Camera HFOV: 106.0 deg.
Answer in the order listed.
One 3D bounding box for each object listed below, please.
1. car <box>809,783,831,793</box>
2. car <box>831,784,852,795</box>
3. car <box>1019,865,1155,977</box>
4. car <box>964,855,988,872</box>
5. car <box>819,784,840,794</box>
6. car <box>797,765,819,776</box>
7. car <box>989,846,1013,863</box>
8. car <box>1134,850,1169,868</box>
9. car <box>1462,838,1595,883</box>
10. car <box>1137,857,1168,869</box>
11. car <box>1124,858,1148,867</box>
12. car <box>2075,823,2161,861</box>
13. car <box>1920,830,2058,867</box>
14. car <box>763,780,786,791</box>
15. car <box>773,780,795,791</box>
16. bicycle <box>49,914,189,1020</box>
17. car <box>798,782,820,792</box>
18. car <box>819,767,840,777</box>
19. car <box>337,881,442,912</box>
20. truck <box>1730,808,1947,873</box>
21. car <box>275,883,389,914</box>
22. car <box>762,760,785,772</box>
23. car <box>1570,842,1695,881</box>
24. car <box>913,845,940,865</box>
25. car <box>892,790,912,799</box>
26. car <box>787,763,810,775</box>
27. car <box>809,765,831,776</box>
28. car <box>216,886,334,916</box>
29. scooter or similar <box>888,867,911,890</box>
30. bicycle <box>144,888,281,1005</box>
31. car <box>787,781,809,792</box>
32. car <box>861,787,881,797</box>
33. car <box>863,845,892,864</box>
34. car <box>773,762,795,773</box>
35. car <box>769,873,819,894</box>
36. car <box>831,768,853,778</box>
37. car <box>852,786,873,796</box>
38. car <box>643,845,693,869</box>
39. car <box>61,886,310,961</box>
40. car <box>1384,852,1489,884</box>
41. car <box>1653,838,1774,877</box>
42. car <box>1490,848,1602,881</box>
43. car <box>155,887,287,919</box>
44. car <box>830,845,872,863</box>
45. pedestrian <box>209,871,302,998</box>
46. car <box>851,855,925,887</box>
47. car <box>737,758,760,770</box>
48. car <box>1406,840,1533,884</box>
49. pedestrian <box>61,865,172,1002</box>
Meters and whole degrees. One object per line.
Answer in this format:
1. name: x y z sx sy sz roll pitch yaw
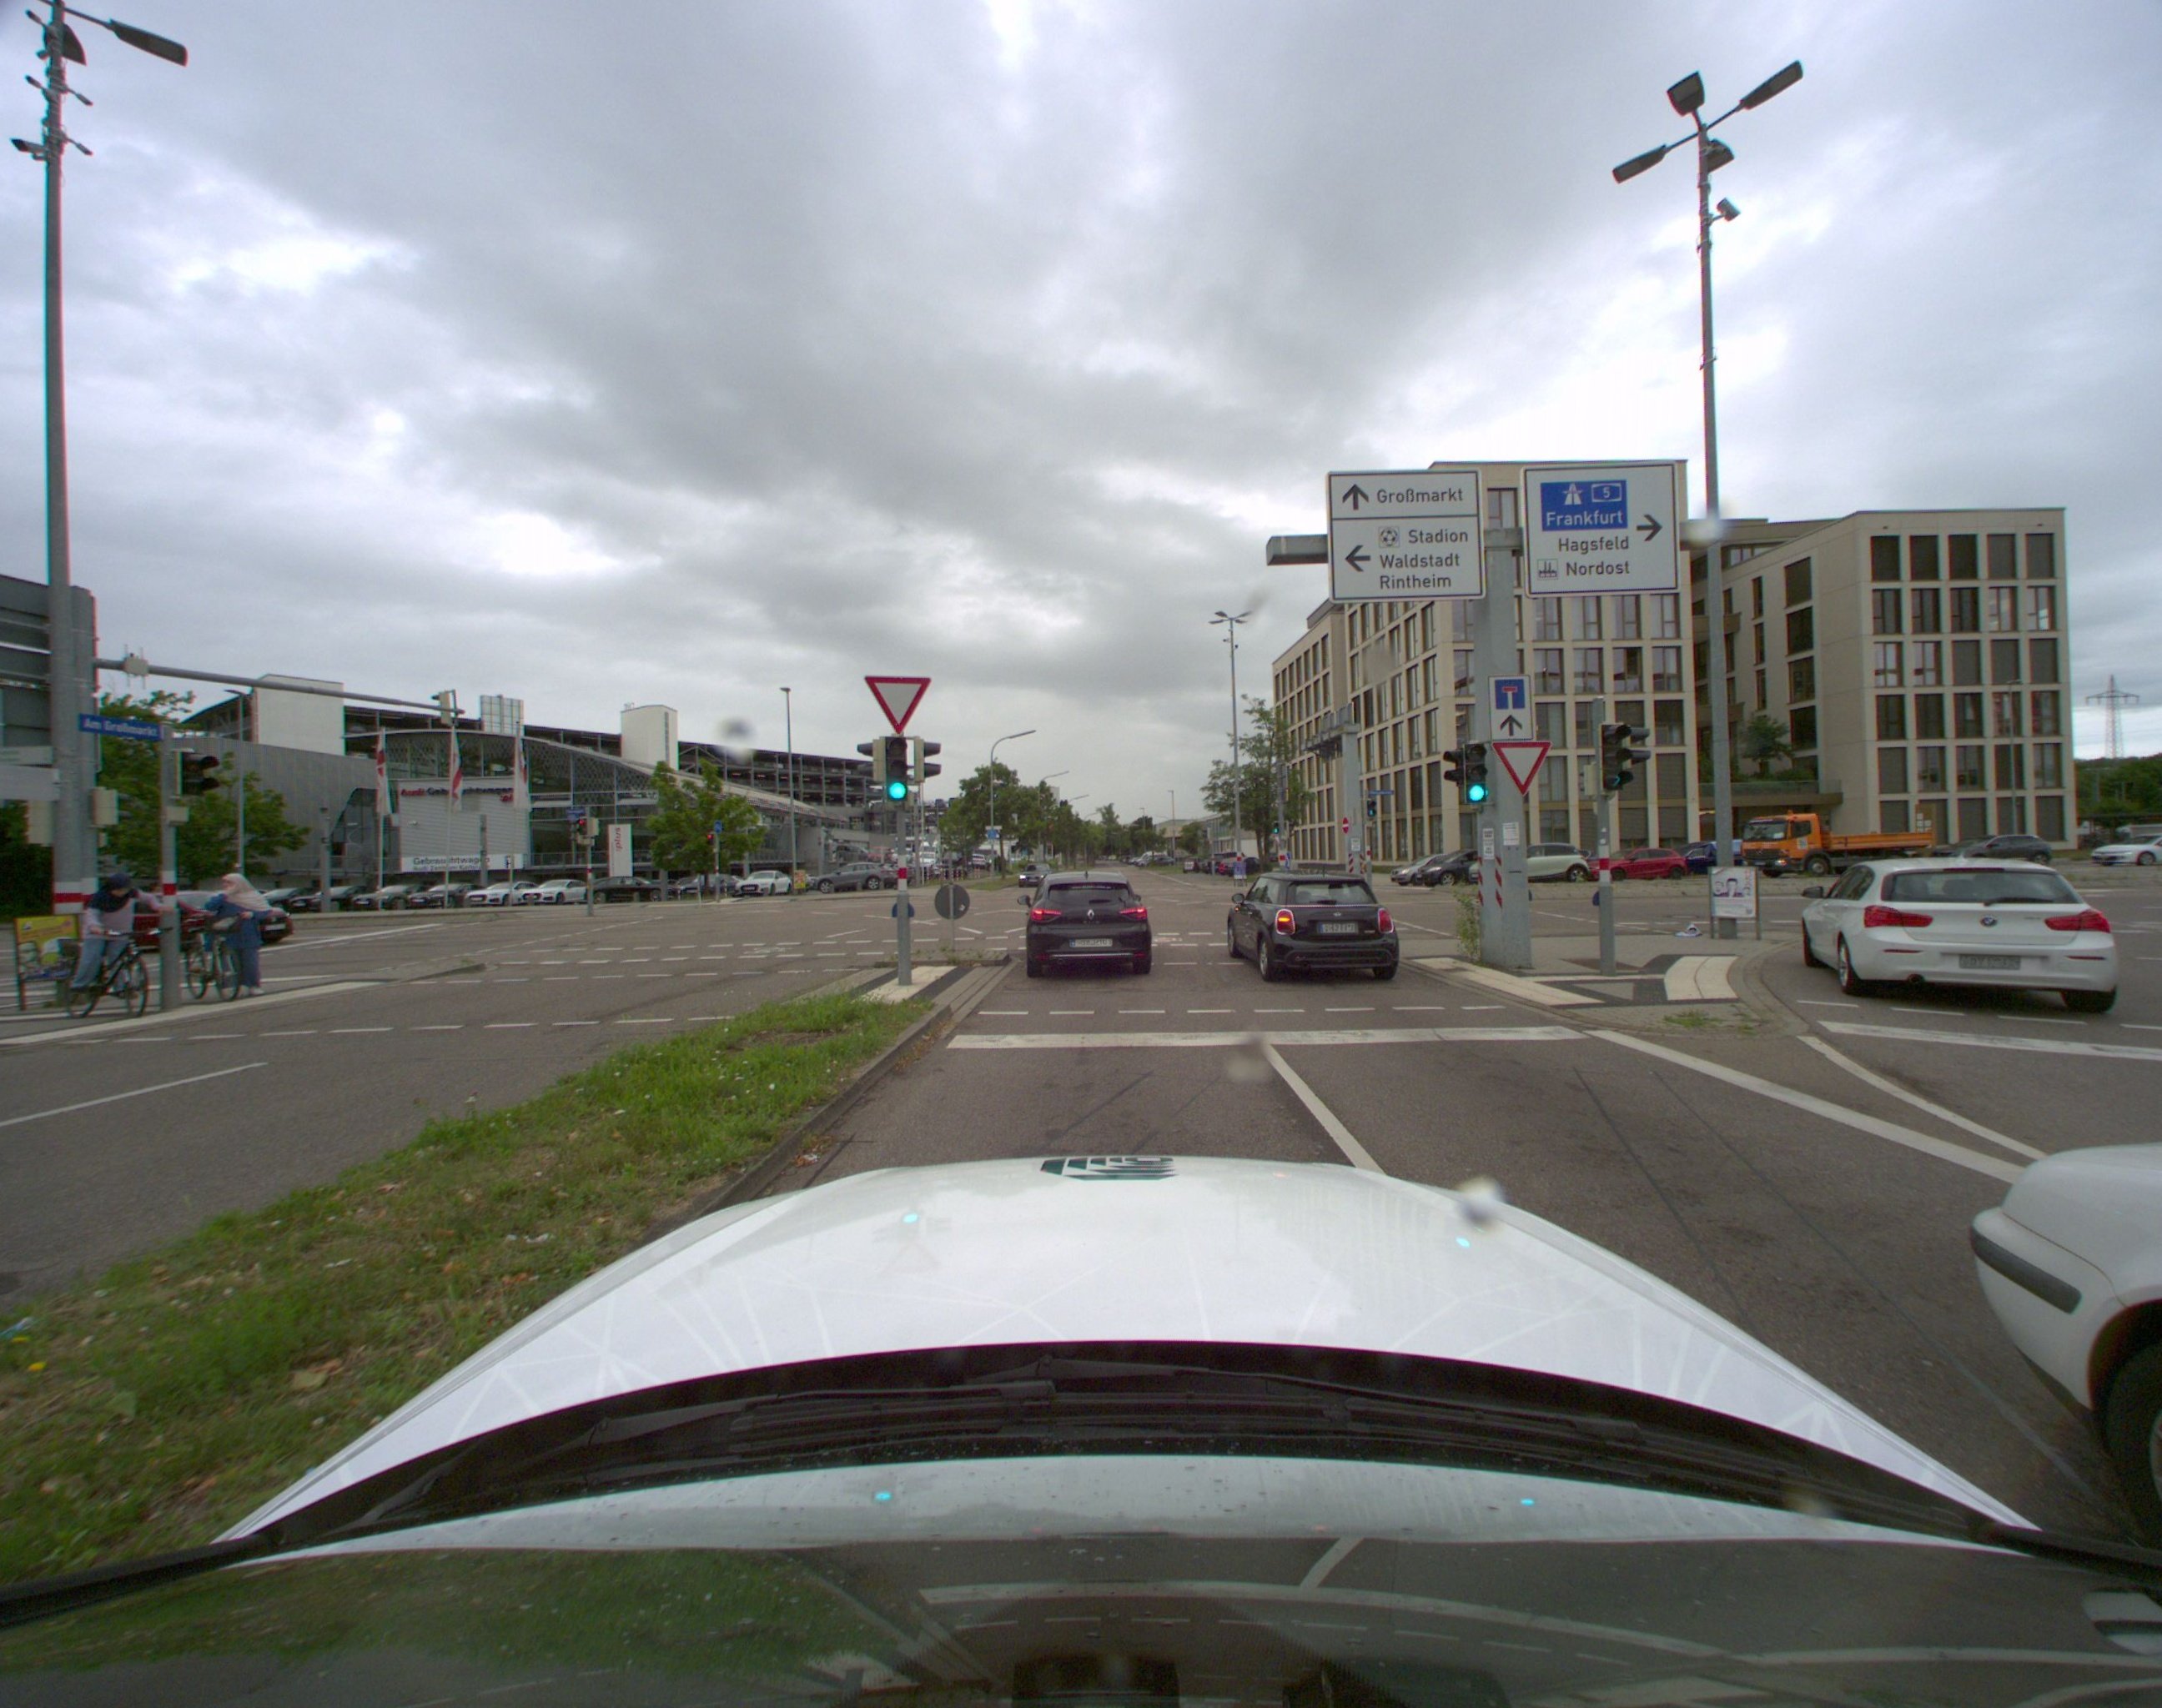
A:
1. car: -50.901 -12.858 158.887 3.948 1.667 2.013 -1 -1 33
2. car: -47.949 -12.927 163.240 3.948 1.667 2.013 -1 -1 33
3. car: 0.143 0.909 12.491 1.750 1.435 4.001 0 -1 2
4. car: -10.360 0.963 80.839 1.988 1.618 3.997 0 -1 -2
5. car: -49.658 -12.846 160.710 3.948 1.667 2.013 -1 -1 33
6. car: -52.476 -16.114 156.779 3.948 1.667 2.013 -1 -1 33
7. car: -8.003 0.088 81.401 1.987 1.618 3.999 0 -1 0
8. car: 12.795 0.932 147.874 6.096 3.116 2.134 0 -1 0
9. car: 16.851 0.254 30.802 4.047 1.643 1.902 0 -1 -4
10. car: 11.278 1.468 128.533 4.771 1.891 2.143 0 -1 -1
11. car: 12.138 1.913 178.484 5.156 2.014 2.143 0 -1 0
12. car: 49.066 -0.523 37.244 4.319 1.657 2.006 0 -1 10
13. car: 42.501 -0.229 38.193 4.089 1.657 2.001 0 -1 3
14. car: -56.592 -12.662 150.385 3.948 1.667 2.013 -1 -1 33
15. car: -55.621 -12.753 152.446 3.948 1.667 2.013 -1 -1 33
16. bicycle: -11.456 1.322 9.691 1.923 1.166 0.511 -3 -3 23
17. car: -52.288 -12.848 156.724 3.948 1.667 2.013 -1 -1 33
18. car: -49.650 -16.206 160.839 3.948 1.667 2.013 -1 -1 33
19. car: -35.615 2.214 42.100 1.897 1.486 4.186 -2 -3 -2
20. truck: 31.994 -0.512 34.586 6.633 2.639 2.820 0 -1 -1
21. car: -38.474 2.310 42.004 1.883 1.471 4.375 -2 -3 -2
22. car: -56.836 -16.225 150.362 3.948 1.667 2.013 -1 -1 33
23. car: 23.175 0.339 34.322 3.976 1.601 1.998 0 -1 -2
24. car: -15.228 0.109 80.392 1.988 1.823 3.997 0 -1 -2
25. car: -39.011 -12.993 177.584 3.948 1.667 2.013 -1 -1 33
26. car: -53.707 -16.155 154.796 3.948 1.667 2.013 -1 -1 33
27. car: -51.003 -16.251 159.048 3.948 1.667 2.013 -1 -1 33
28. car: -41.214 2.410 41.789 1.891 1.391 4.164 -2 -3 -2
29. scooter or similar: -10.017 1.360 45.057 0.553 1.219 1.566 1 0 16
30. bicycle: -11.333 1.182 10.622 1.910 1.396 0.600 -3 0 25
31. car: -53.706 -12.826 154.631 3.948 1.667 2.013 -1 -1 33
32. car: -43.827 -12.981 169.865 3.948 1.667 2.013 -1 -1 33
33. car: -20.126 0.089 80.627 1.988 1.849 3.997 0 -1 -2
34. car: -55.488 -16.187 152.197 3.948 1.667 2.013 -1 -1 33
35. car: -26.207 2.685 74.384 3.979 1.838 1.757 0 -1 -4
36. car: -47.993 -16.244 163.463 3.948 1.667 2.013 -1 -1 33
37. car: -45.035 -12.939 167.931 3.948 1.667 2.013 -1 -1 33
38. car: -30.562 0.260 60.350 1.815 1.662 3.995 0 -1 -3
39. car: -22.428 1.713 20.542 4.058 1.487 1.738 -3 1 -5
40. car: 16.269 0.634 37.370 4.074 1.432 1.750 0 -1 -3
41. car: 29.414 0.163 37.962 4.126 1.769 1.998 0 -1 -2
42. car: 21.326 0.498 37.472 4.126 1.491 1.870 0 -1 -3
43. car: -43.890 2.494 41.731 1.837 1.472 4.659 -1 -3 -2
44. car: -24.647 -0.018 87.401 3.975 1.838 1.759 0 -1 -1
45. pedestrian: -11.139 1.066 10.997 0.683 1.626 0.645 -3 -1 27
46. car: -13.810 1.212 58.532 4.765 2.014 1.996 -3 -1 -5
47. car: -59.575 -16.064 145.979 3.948 1.667 2.013 -1 -1 33
48. car: 16.204 0.348 34.091 4.396 1.769 1.998 0 -1 -3
49. pedestrian: -11.403 0.922 9.641 0.642 1.549 0.657 -3 -3 23
